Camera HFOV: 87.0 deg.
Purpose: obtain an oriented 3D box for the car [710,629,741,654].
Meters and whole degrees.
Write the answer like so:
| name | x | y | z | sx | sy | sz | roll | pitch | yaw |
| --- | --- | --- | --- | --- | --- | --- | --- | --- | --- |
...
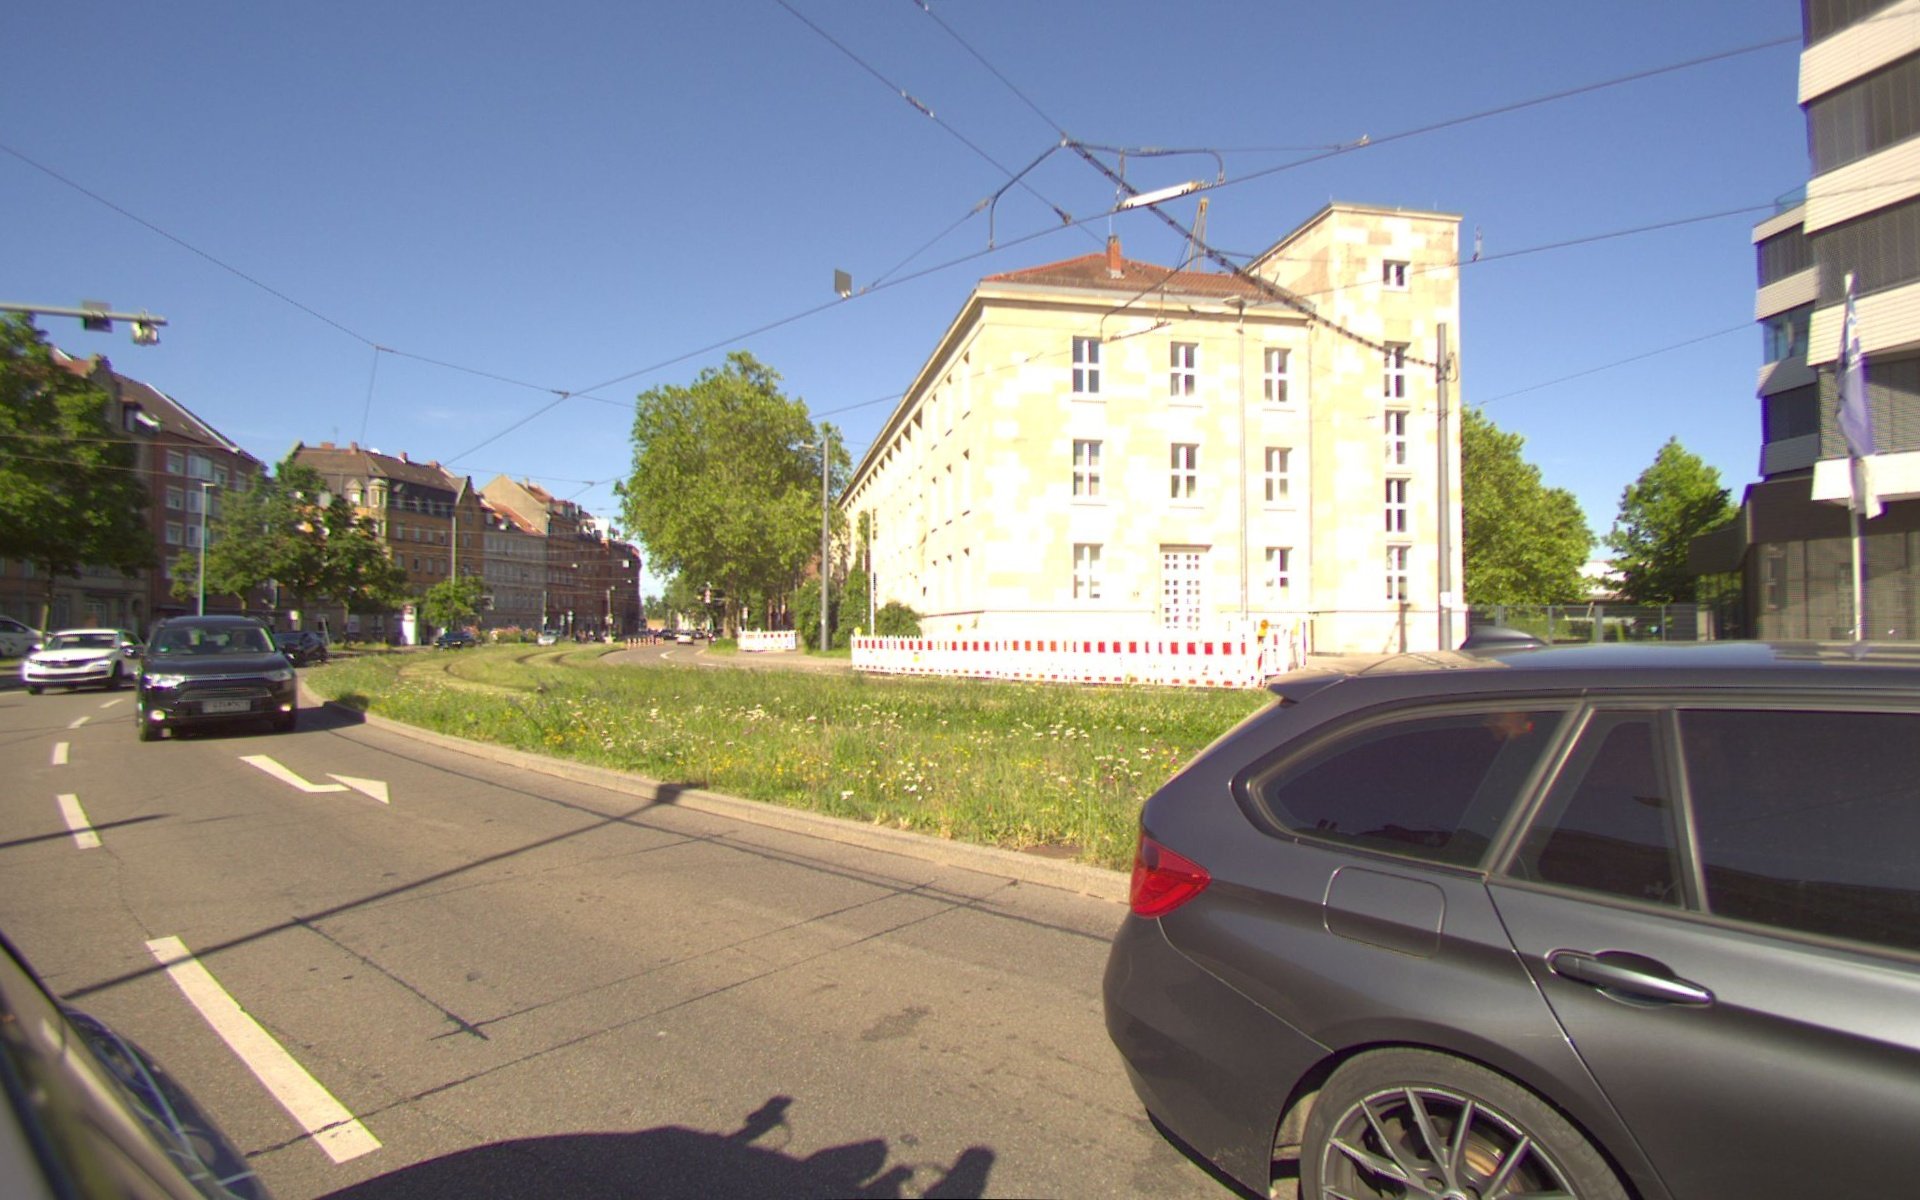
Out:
| name | x | y | z | sx | sy | sz | roll | pitch | yaw |
| --- | --- | --- | --- | --- | --- | --- | --- | --- | --- |
| car | -15.088 | 2.654 | 65.239 | 1.806 | 1.504 | 4.191 | 0 | -2 | -11 |

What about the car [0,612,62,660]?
| name | x | y | z | sx | sy | sz | roll | pitch | yaw |
| --- | --- | --- | --- | --- | --- | --- | --- | --- | --- |
| car | -42.312 | 1.498 | 43.749 | 5.106 | 2.028 | 2.104 | 4 | -3 | -41 |

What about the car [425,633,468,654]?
| name | x | y | z | sx | sy | sz | roll | pitch | yaw |
| --- | --- | --- | --- | --- | --- | --- | --- | --- | --- |
| car | -36.341 | 3.081 | 71.691 | 1.859 | 1.438 | 4.388 | 0 | -2 | -15 |

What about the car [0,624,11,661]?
| name | x | y | z | sx | sy | sz | roll | pitch | yaw |
| --- | --- | --- | --- | --- | --- | --- | --- | --- | --- |
| car | -41.185 | 1.680 | 40.909 | 1.814 | 1.490 | 3.971 | -1 | -3 | 44 |

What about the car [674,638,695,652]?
| name | x | y | z | sx | sy | sz | roll | pitch | yaw |
| --- | --- | --- | --- | --- | --- | --- | --- | --- | --- |
| car | -29.179 | 4.751 | 107.302 | 1.806 | 1.464 | 4.180 | 1 | -2 | -11 |

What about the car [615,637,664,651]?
| name | x | y | z | sx | sy | sz | roll | pitch | yaw |
| --- | --- | --- | --- | --- | --- | --- | --- | --- | --- |
| car | -35.216 | 4.797 | 111.329 | 4.907 | 1.464 | 1.829 | 0 | -2 | 11 |

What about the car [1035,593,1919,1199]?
| name | x | y | z | sx | sy | sz | roll | pitch | yaw |
| --- | --- | --- | --- | --- | --- | --- | --- | --- | --- |
| car | 2.451 | 0.708 | 1.616 | 4.464 | 1.434 | 1.717 | -2 | 0 | 40 |

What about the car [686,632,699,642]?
| name | x | y | z | sx | sy | sz | roll | pitch | yaw |
| --- | --- | --- | --- | --- | --- | --- | --- | --- | --- |
| car | -55.594 | 7.721 | 210.211 | 2.035 | 1.905 | 4.524 | 2 | -3 | -7 |

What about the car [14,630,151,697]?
| name | x | y | z | sx | sy | sz | roll | pitch | yaw |
| --- | --- | --- | --- | --- | --- | --- | --- | --- | --- |
| car | -23.338 | 1.621 | 27.110 | 1.771 | 1.648 | 4.408 | 1 | -2 | -27 |

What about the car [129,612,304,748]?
| name | x | y | z | sx | sy | sz | roll | pitch | yaw |
| --- | --- | --- | --- | --- | --- | --- | --- | --- | --- |
| car | -11.211 | 1.074 | 15.120 | 1.813 | 1.695 | 4.650 | 0 | -2 | -40 |

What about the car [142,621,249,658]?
| name | x | y | z | sx | sy | sz | roll | pitch | yaw |
| --- | --- | --- | --- | --- | --- | --- | --- | --- | --- |
| car | -46.182 | 2.428 | 61.209 | 2.021 | 2.091 | 4.810 | -2 | -4 | 43 |

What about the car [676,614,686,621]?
| name | x | y | z | sx | sy | sz | roll | pitch | yaw |
| --- | --- | --- | --- | --- | --- | --- | --- | --- | --- |
| car | -64.360 | 3.992 | 233.436 | 1.769 | 1.440 | 4.386 | 0 | -2 | -12 |

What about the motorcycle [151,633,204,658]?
| name | x | y | z | sx | sy | sz | roll | pitch | yaw |
| --- | --- | --- | --- | --- | --- | --- | --- | --- | --- |
| motorcycle | -45.340 | 2.629 | 58.636 | 0.851 | 1.431 | 2.239 | -1 | -3 | 29 |
